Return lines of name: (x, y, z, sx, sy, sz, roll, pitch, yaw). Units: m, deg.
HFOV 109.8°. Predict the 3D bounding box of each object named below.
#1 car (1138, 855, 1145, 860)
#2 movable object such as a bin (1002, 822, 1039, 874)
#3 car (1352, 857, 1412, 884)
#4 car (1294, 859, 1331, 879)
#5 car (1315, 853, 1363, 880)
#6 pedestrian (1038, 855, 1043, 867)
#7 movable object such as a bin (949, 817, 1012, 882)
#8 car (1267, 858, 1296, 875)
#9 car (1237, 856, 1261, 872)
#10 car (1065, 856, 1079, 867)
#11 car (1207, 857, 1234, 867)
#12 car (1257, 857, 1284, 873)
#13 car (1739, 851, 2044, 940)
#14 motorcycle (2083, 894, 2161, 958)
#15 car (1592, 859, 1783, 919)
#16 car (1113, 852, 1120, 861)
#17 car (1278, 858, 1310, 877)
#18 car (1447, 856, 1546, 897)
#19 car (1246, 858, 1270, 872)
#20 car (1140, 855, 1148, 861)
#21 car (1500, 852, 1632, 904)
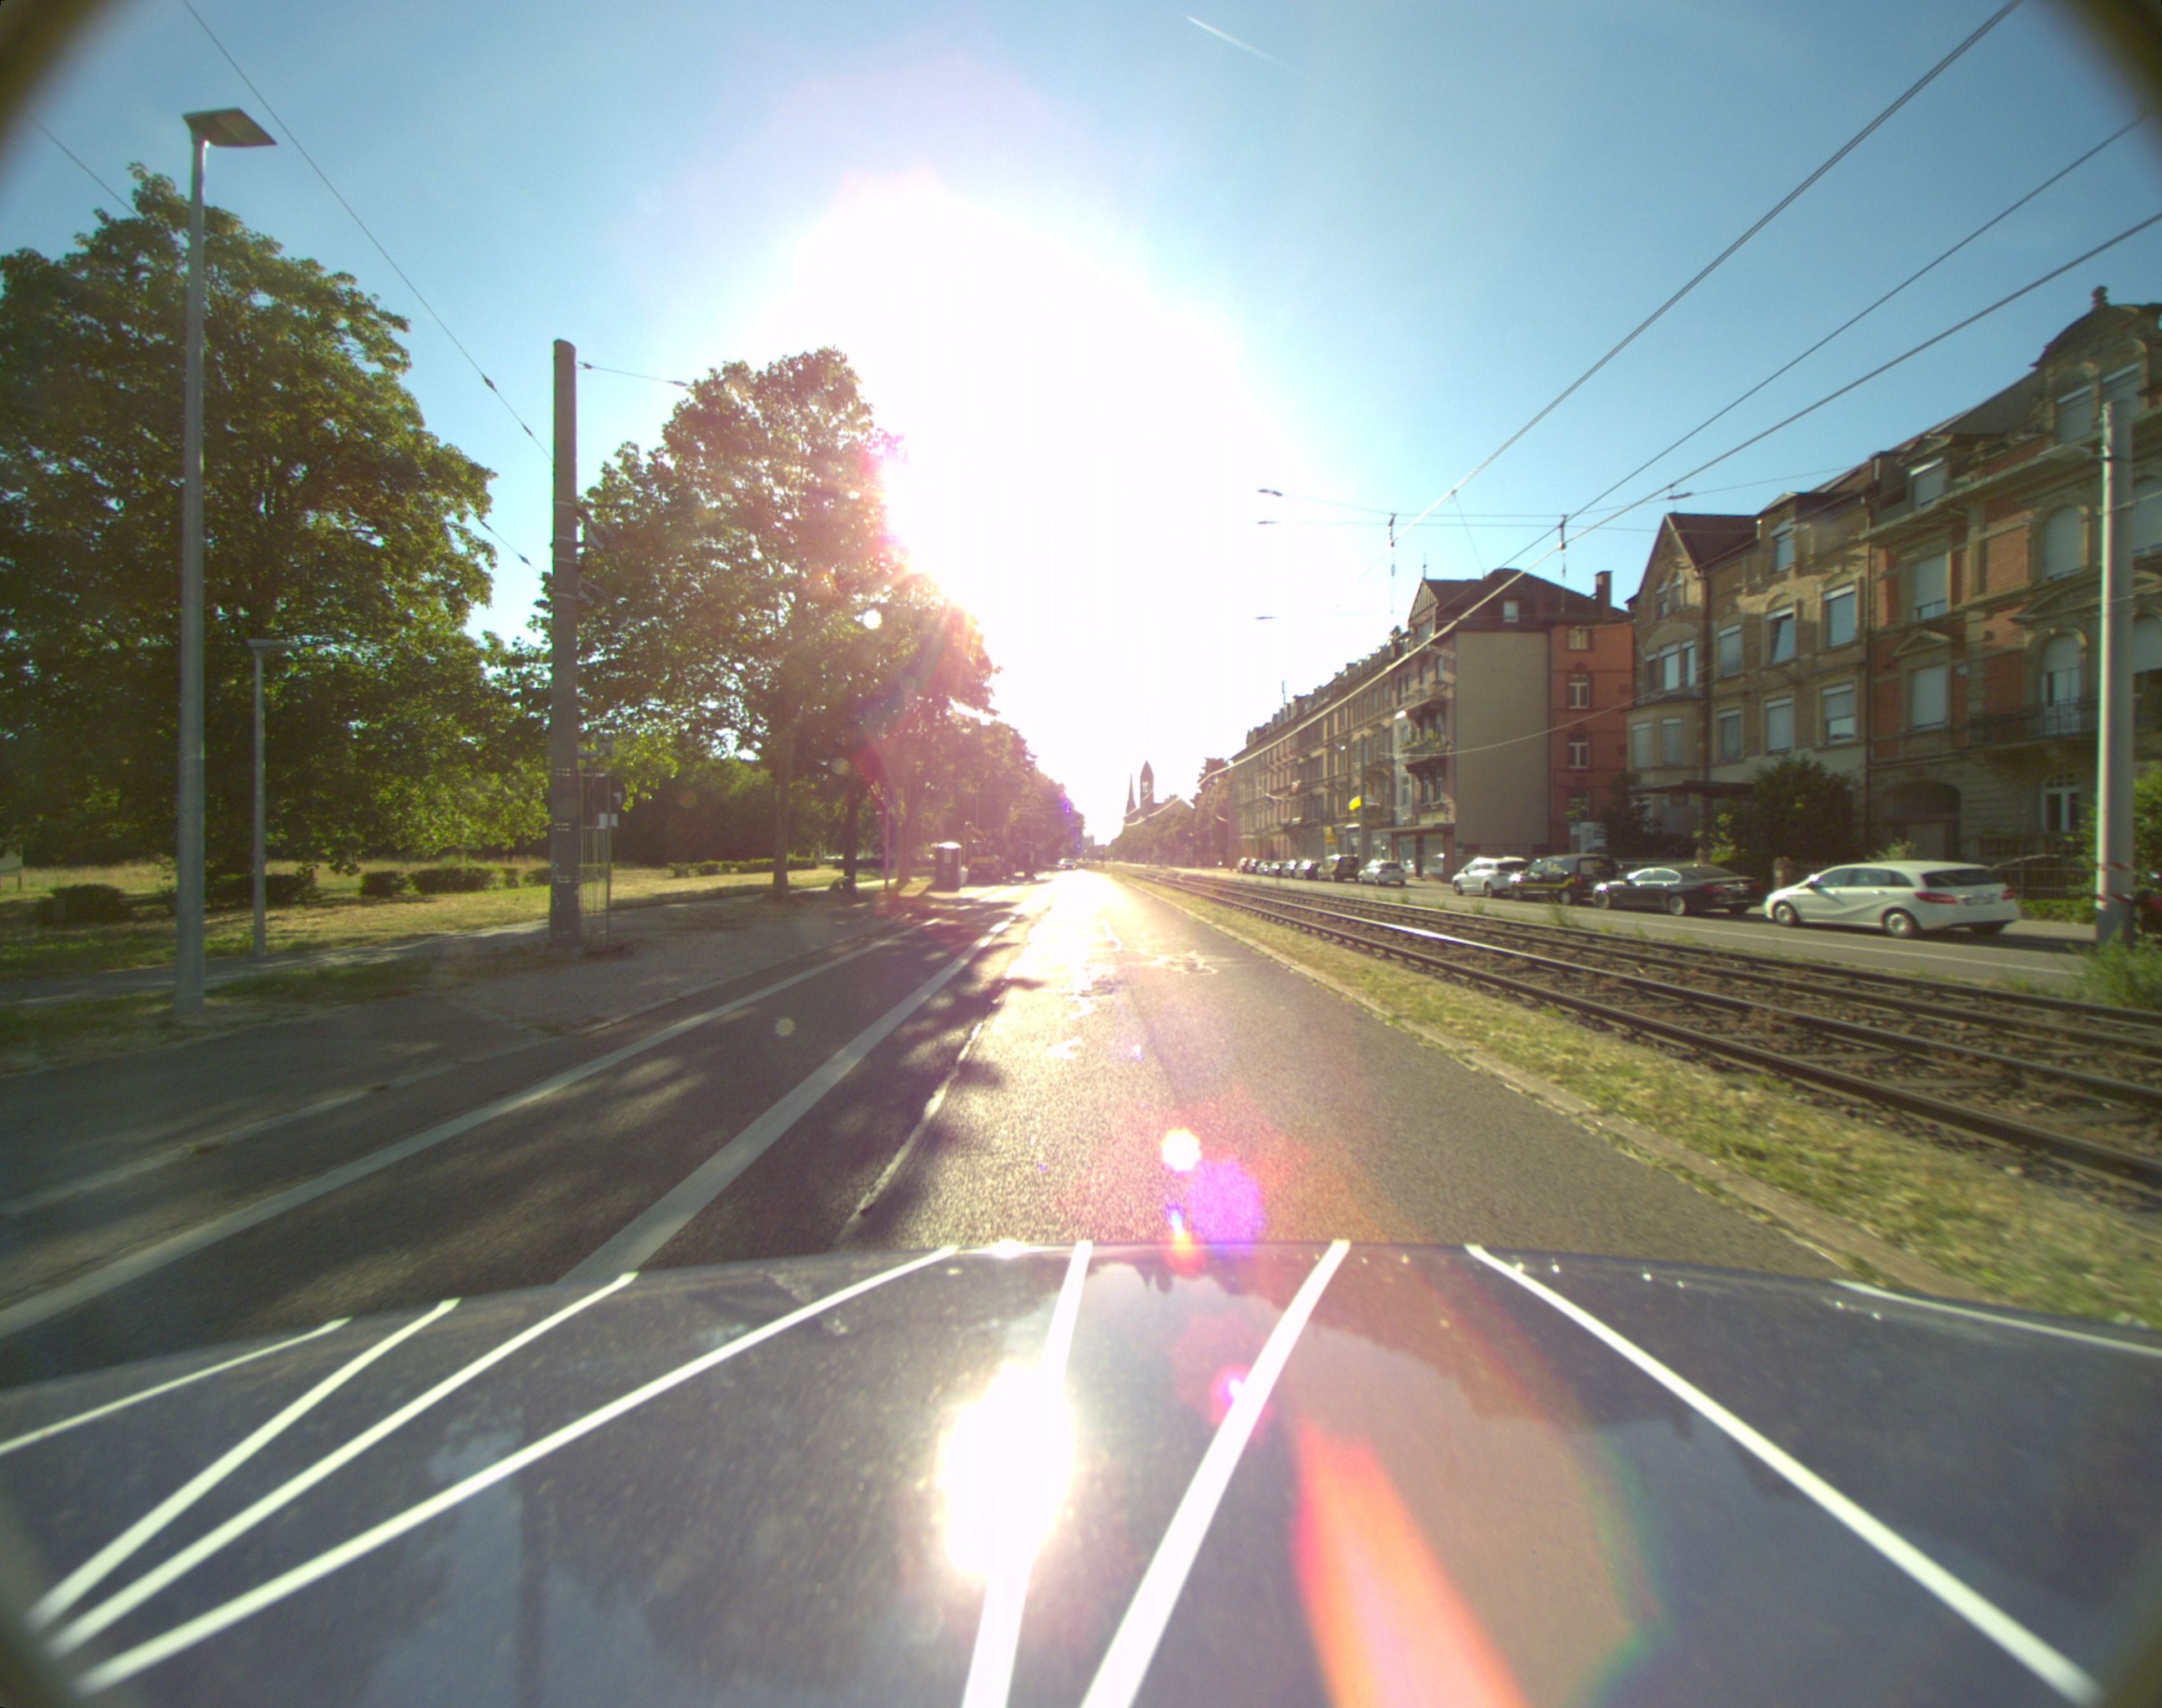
car: (18.269, 1.140, 228.713, 1.799, 1.501, 3.999, 0, 0, -2)
movable object such as a bin: (-5.582, -0.535, 71.497, 2.922, 4.583, 7.597, 3, 0, -2)
car: (18.710, 0.992, 47.431, 1.925, 1.529, 4.627, -1, 0, 0)
car: (18.087, 1.116, 59.406, 1.664, 1.437, 3.980, -2, 0, 0)
car: (18.245, 0.854, 53.875, 1.664, 1.797, 4.727, -2, 0, -1)
pedestrian: (-5.837, 1.026, 108.882, 0.532, 1.653, 0.486, 2, 0, -23)
movable object such as a bin: (-6.654, -0.285, 51.580, 3.347, 3.953, 7.597, 3, 0, -2)
car: (18.397, 1.169, 69.898, 1.664, 1.437, 3.980, -2, 0, 0)
car: (18.703, 1.048, 84.530, 1.798, 1.633, 4.631, -2, 0, 3)
car: (-1.198, 1.026, 104.251, 1.799, 1.501, 4.000, -2, 0, 0)
car: (23.165, 1.360, 126.038, 3.991, 1.502, 1.802, -2, 1, 21)
car: (18.524, 1.081, 74.430, 1.664, 1.437, 4.196, -2, 0, 0)
car: (18.062, 0.822, 17.396, 1.925, 1.684, 4.843, -2, 0, 2)
motorcycle: (18.458, 1.237, 12.754, 0.827, 0.948, 2.153, -2, 1, 14)
car: (18.232, 0.982, 23.212, 1.925, 1.551, 4.842, -2, 0, 0)
car: (10.231, 0.691, 217.632, 1.799, 2.766, 3.999, 0, 0, 0)
car: (18.182, 1.130, 65.040, 1.664, 1.437, 3.980, -2, 0, 0)
car: (18.383, 0.941, 33.897, 1.925, 1.674, 4.627, -1, 0, 0)
car: (18.621, 1.146, 80.201, 1.664, 1.437, 3.765, -2, 0, 0)
car: (18.010, 1.150, 217.553, 1.799, 1.501, 3.999, 0, 0, -2)
car: (18.315, 0.860, 28.972, 1.926, 1.770, 4.496, -2, 0, -4)
